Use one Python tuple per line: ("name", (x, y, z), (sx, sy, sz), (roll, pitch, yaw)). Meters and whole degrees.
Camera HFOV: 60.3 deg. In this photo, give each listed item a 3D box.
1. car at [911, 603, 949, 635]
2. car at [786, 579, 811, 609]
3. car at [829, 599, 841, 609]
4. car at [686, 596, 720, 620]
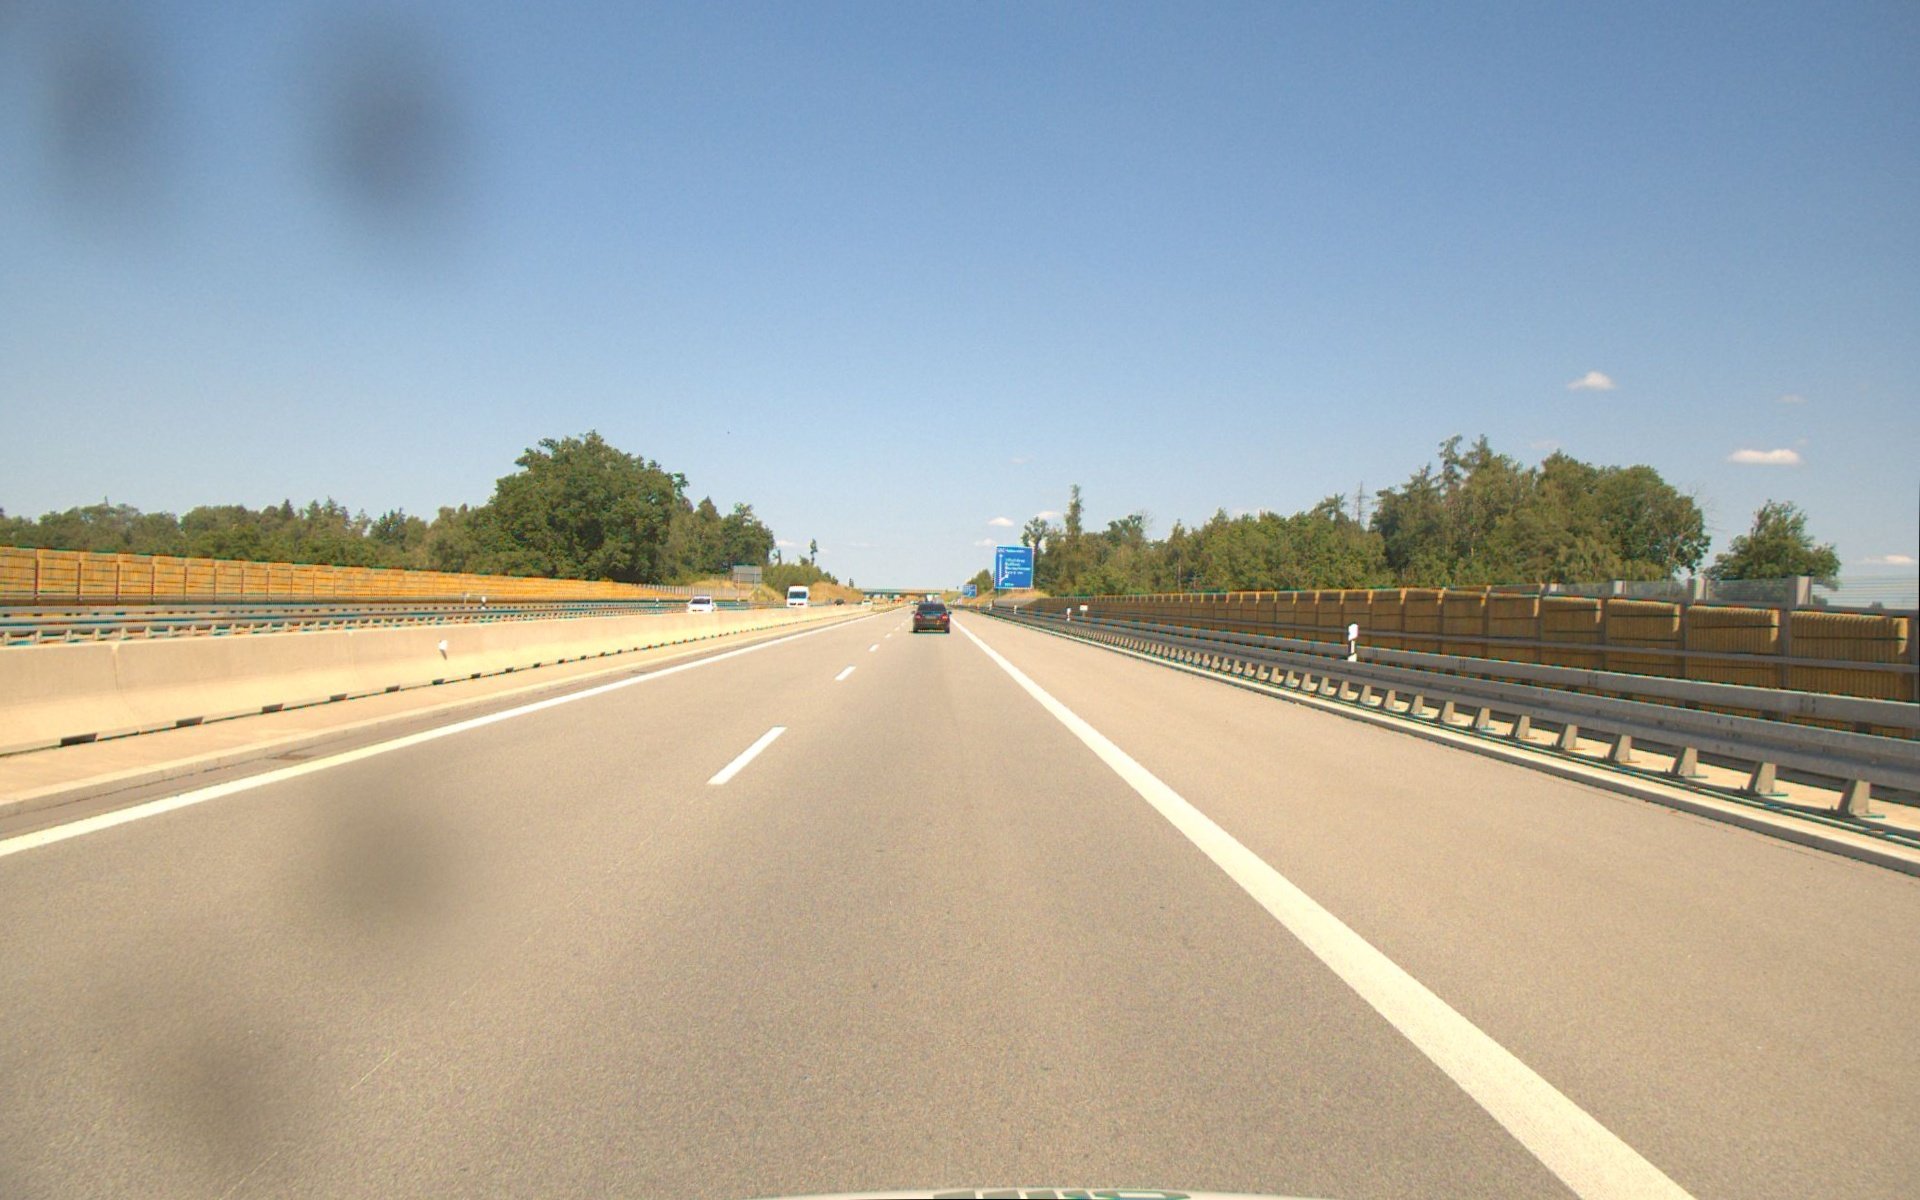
("car", (-1.413, 0.888, 78.350), (1.753, 1.398, 3.916), (1, 0, -1))
("car", (-15.164, -0.535, 155.573), (1.982, 2.717, 6.484), (1, 0, -2))
("car", (-19.352, 0.632, 256.236), (1.547, 1.483, 4.448), (1, 0, -1))
("car", (-16.669, 0.511, 107.409), (1.614, 1.535, 4.331), (1, 0, -1))
